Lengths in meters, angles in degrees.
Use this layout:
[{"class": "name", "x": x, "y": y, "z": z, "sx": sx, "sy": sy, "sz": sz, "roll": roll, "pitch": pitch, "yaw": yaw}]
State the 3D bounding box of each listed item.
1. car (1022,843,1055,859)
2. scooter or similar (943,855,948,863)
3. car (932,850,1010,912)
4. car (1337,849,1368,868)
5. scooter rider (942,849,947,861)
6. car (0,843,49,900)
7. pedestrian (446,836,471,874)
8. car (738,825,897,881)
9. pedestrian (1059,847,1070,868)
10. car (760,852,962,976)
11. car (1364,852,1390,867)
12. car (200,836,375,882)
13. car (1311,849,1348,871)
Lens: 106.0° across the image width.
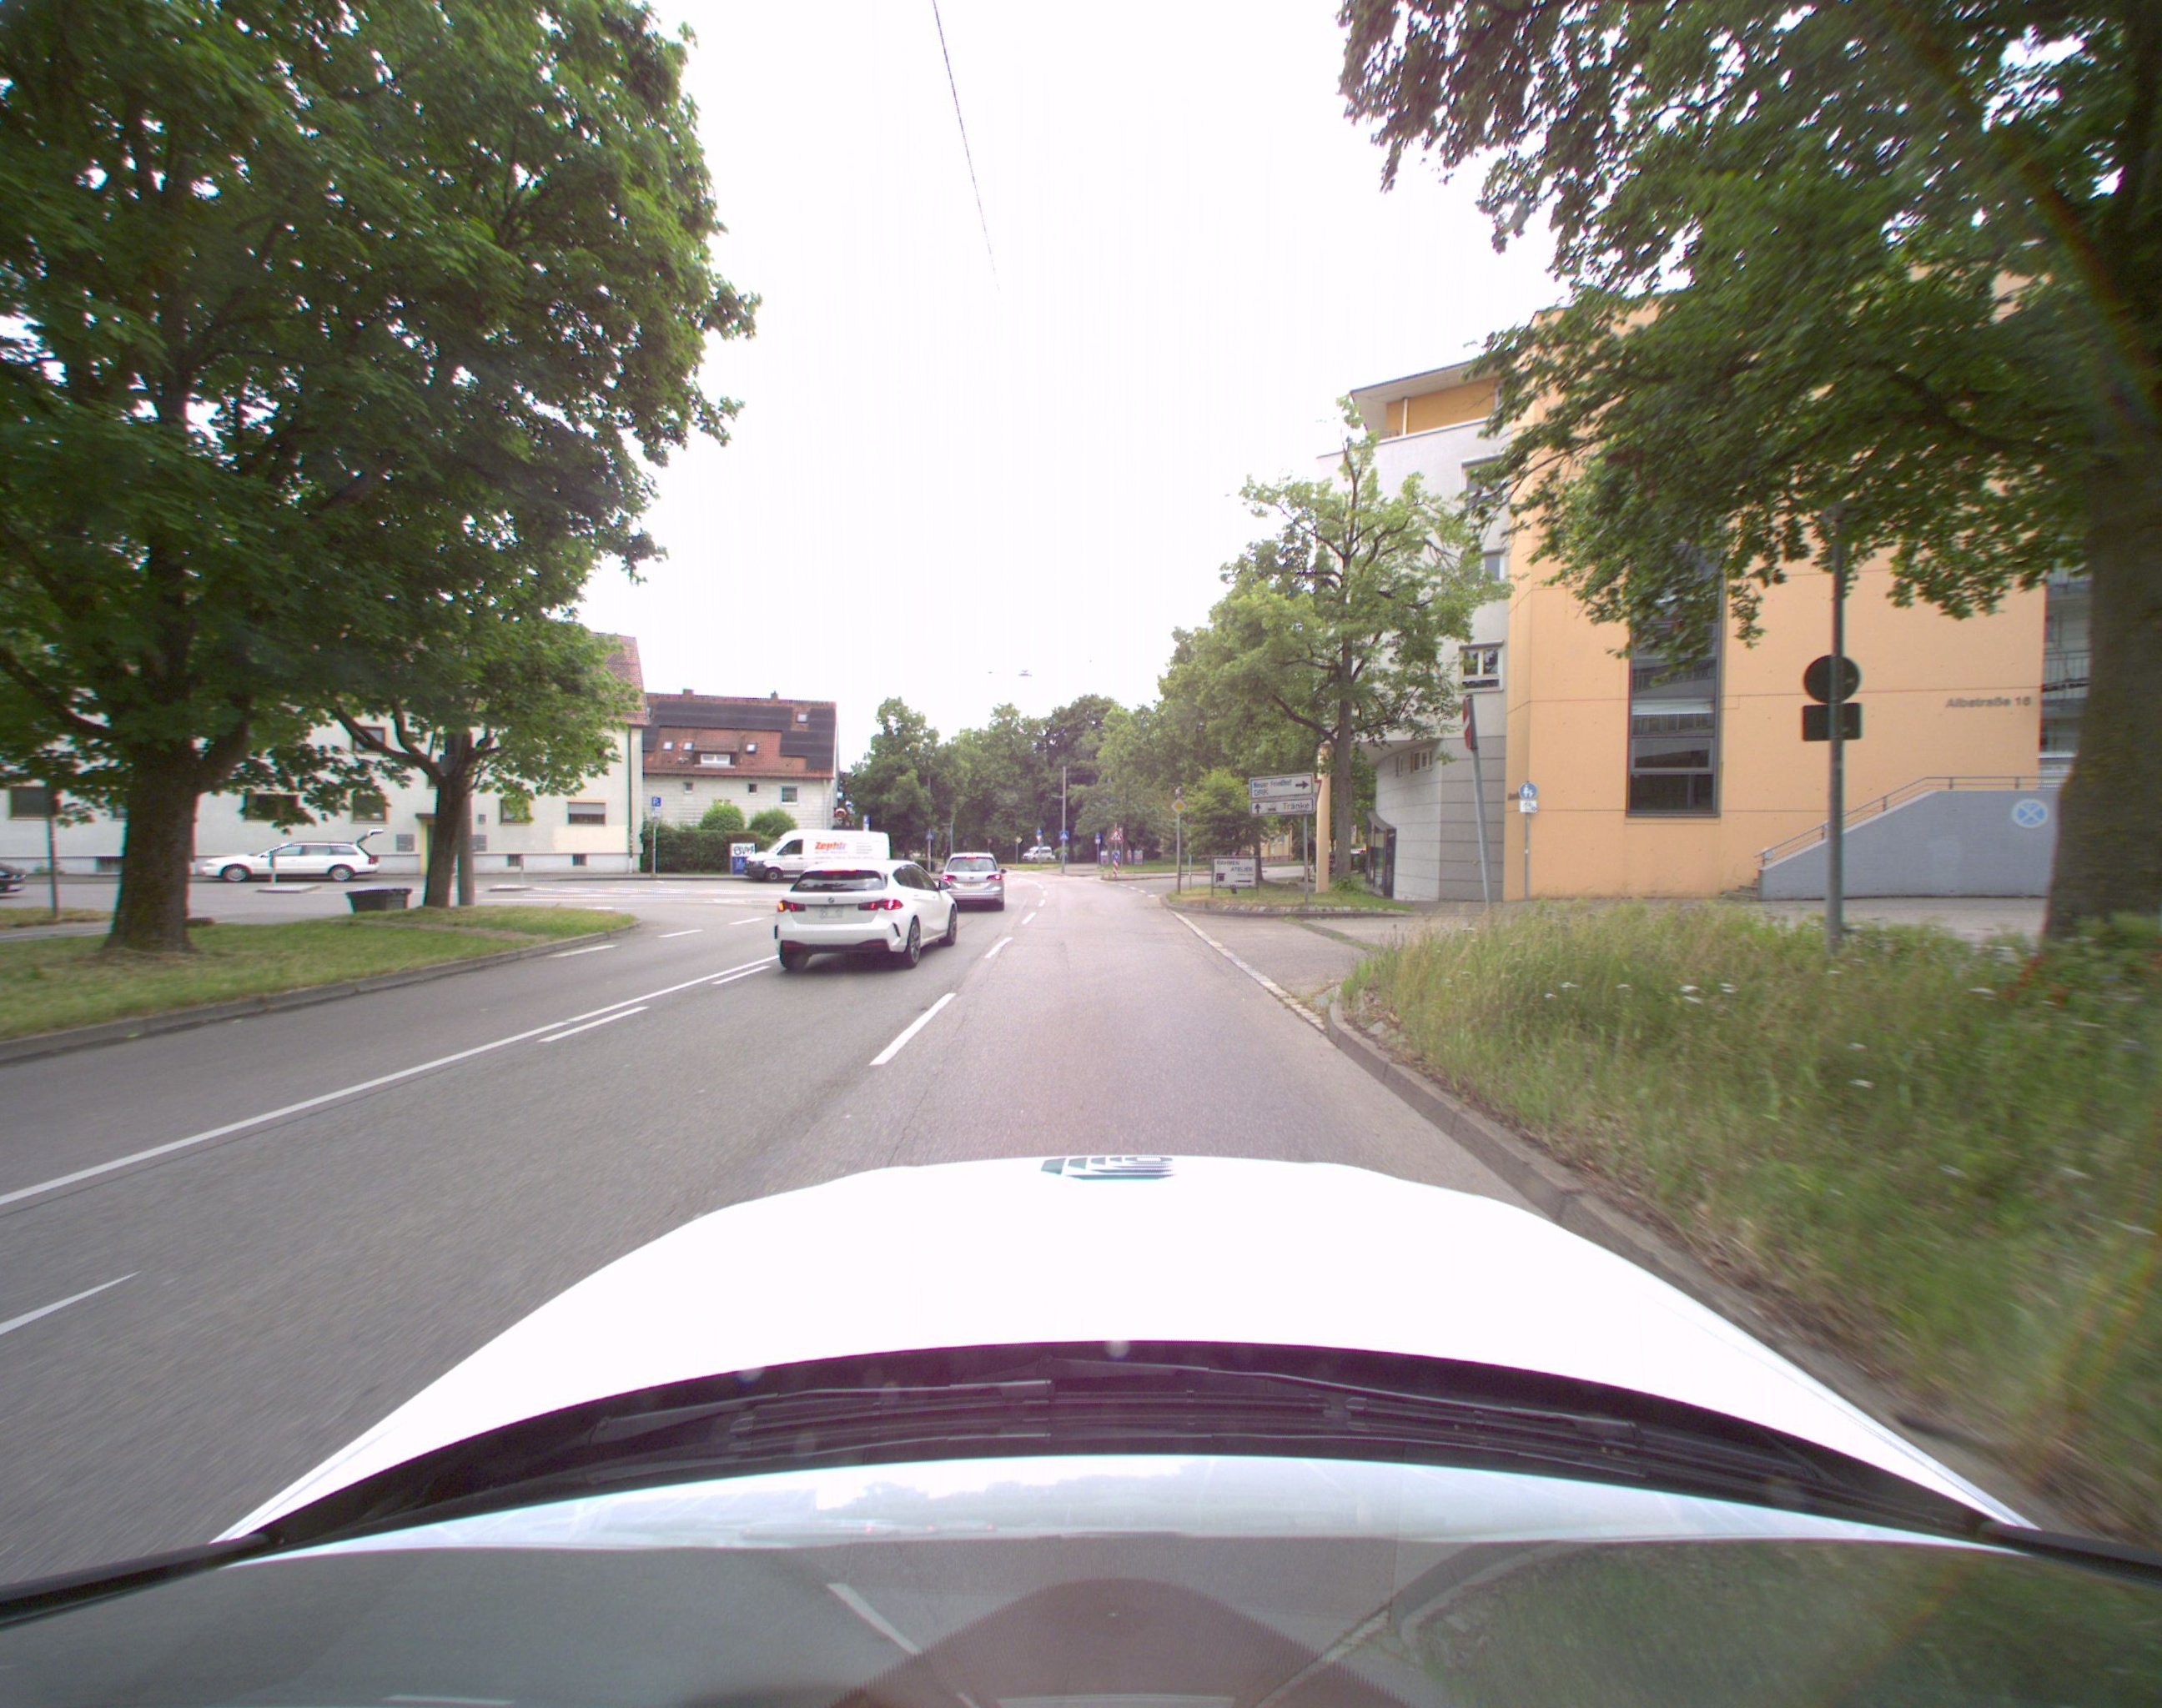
[{"class": "car", "x": -6.865, "y": -0.464, "z": 130.891, "sx": 2.111, "sy": 2.297, "sz": 5.419, "roll": 4, "pitch": 1, "yaw": 39}, {"class": "scooter or similar", "x": -17.774, "y": 0.679, "z": 106.521, "sx": 0.601, "sy": 1.054, "sz": 0.869, "roll": -1, "pitch": 2, "yaw": -13}, {"class": "car", "x": -3.030, "y": 0.691, "z": 23.194, "sx": 1.919, "sy": 1.574, "sz": 3.995, "roll": 0, "pitch": 1, "yaw": -4}, {"class": "car", "x": 24.463, "y": 0.400, "z": 73.235, "sx": 1.762, "sy": 1.597, "sz": 4.275, "roll": 2, "pitch": 1, "yaw": 30}, {"class": "scooter rider", "x": -17.815, "y": 0.133, "z": 106.650, "sx": 0.601, "sy": 1.552, "sz": 0.564, "roll": -1, "pitch": 2, "yaw": -13}, {"class": "car", "x": -28.586, "y": 0.409, "z": 19.782, "sx": 4.010, "sy": 1.336, "sz": 1.630, "roll": 1, "pitch": 2, "yaw": -28}, {"class": "pedestrian", "x": -26.183, "y": 0.028, "z": 34.245, "sx": 0.753, "sy": 1.534, "sz": 0.708, "roll": 2, "pitch": 1, "yaw": -38}, {"class": "car", "x": -12.674, "y": -0.029, "z": 39.497, "sx": 7.012, "sy": 2.521, "sz": 2.062, "roll": 1, "pitch": 2, "yaw": -37}, {"class": "pedestrian", "x": -1.561, "y": 0.368, "z": 77.022, "sx": 0.921, "sy": 1.871, "sz": 1.018, "roll": -3, "pitch": 3, "yaw": -3}, {"class": "car", "x": -3.073, "y": 0.750, "z": 12.331, "sx": 1.789, "sy": 1.517, "sz": 4.208, "roll": -1, "pitch": 0, "yaw": 1}, {"class": "car", "x": 29.033, "y": 0.570, "z": 79.895, "sx": 1.627, "sy": 1.375, "sz": 3.465, "roll": 4, "pitch": 1, "yaw": 32}, {"class": "car", "x": -28.396, "y": 0.200, "z": 29.371, "sx": 4.337, "sy": 1.440, "sz": 1.702, "roll": 2, "pitch": 1, "yaw": -39}, {"class": "car", "x": 19.362, "y": 0.487, "z": 63.341, "sx": 1.857, "sy": 1.568, "sz": 4.043, "roll": 4, "pitch": 1, "yaw": 29}]
